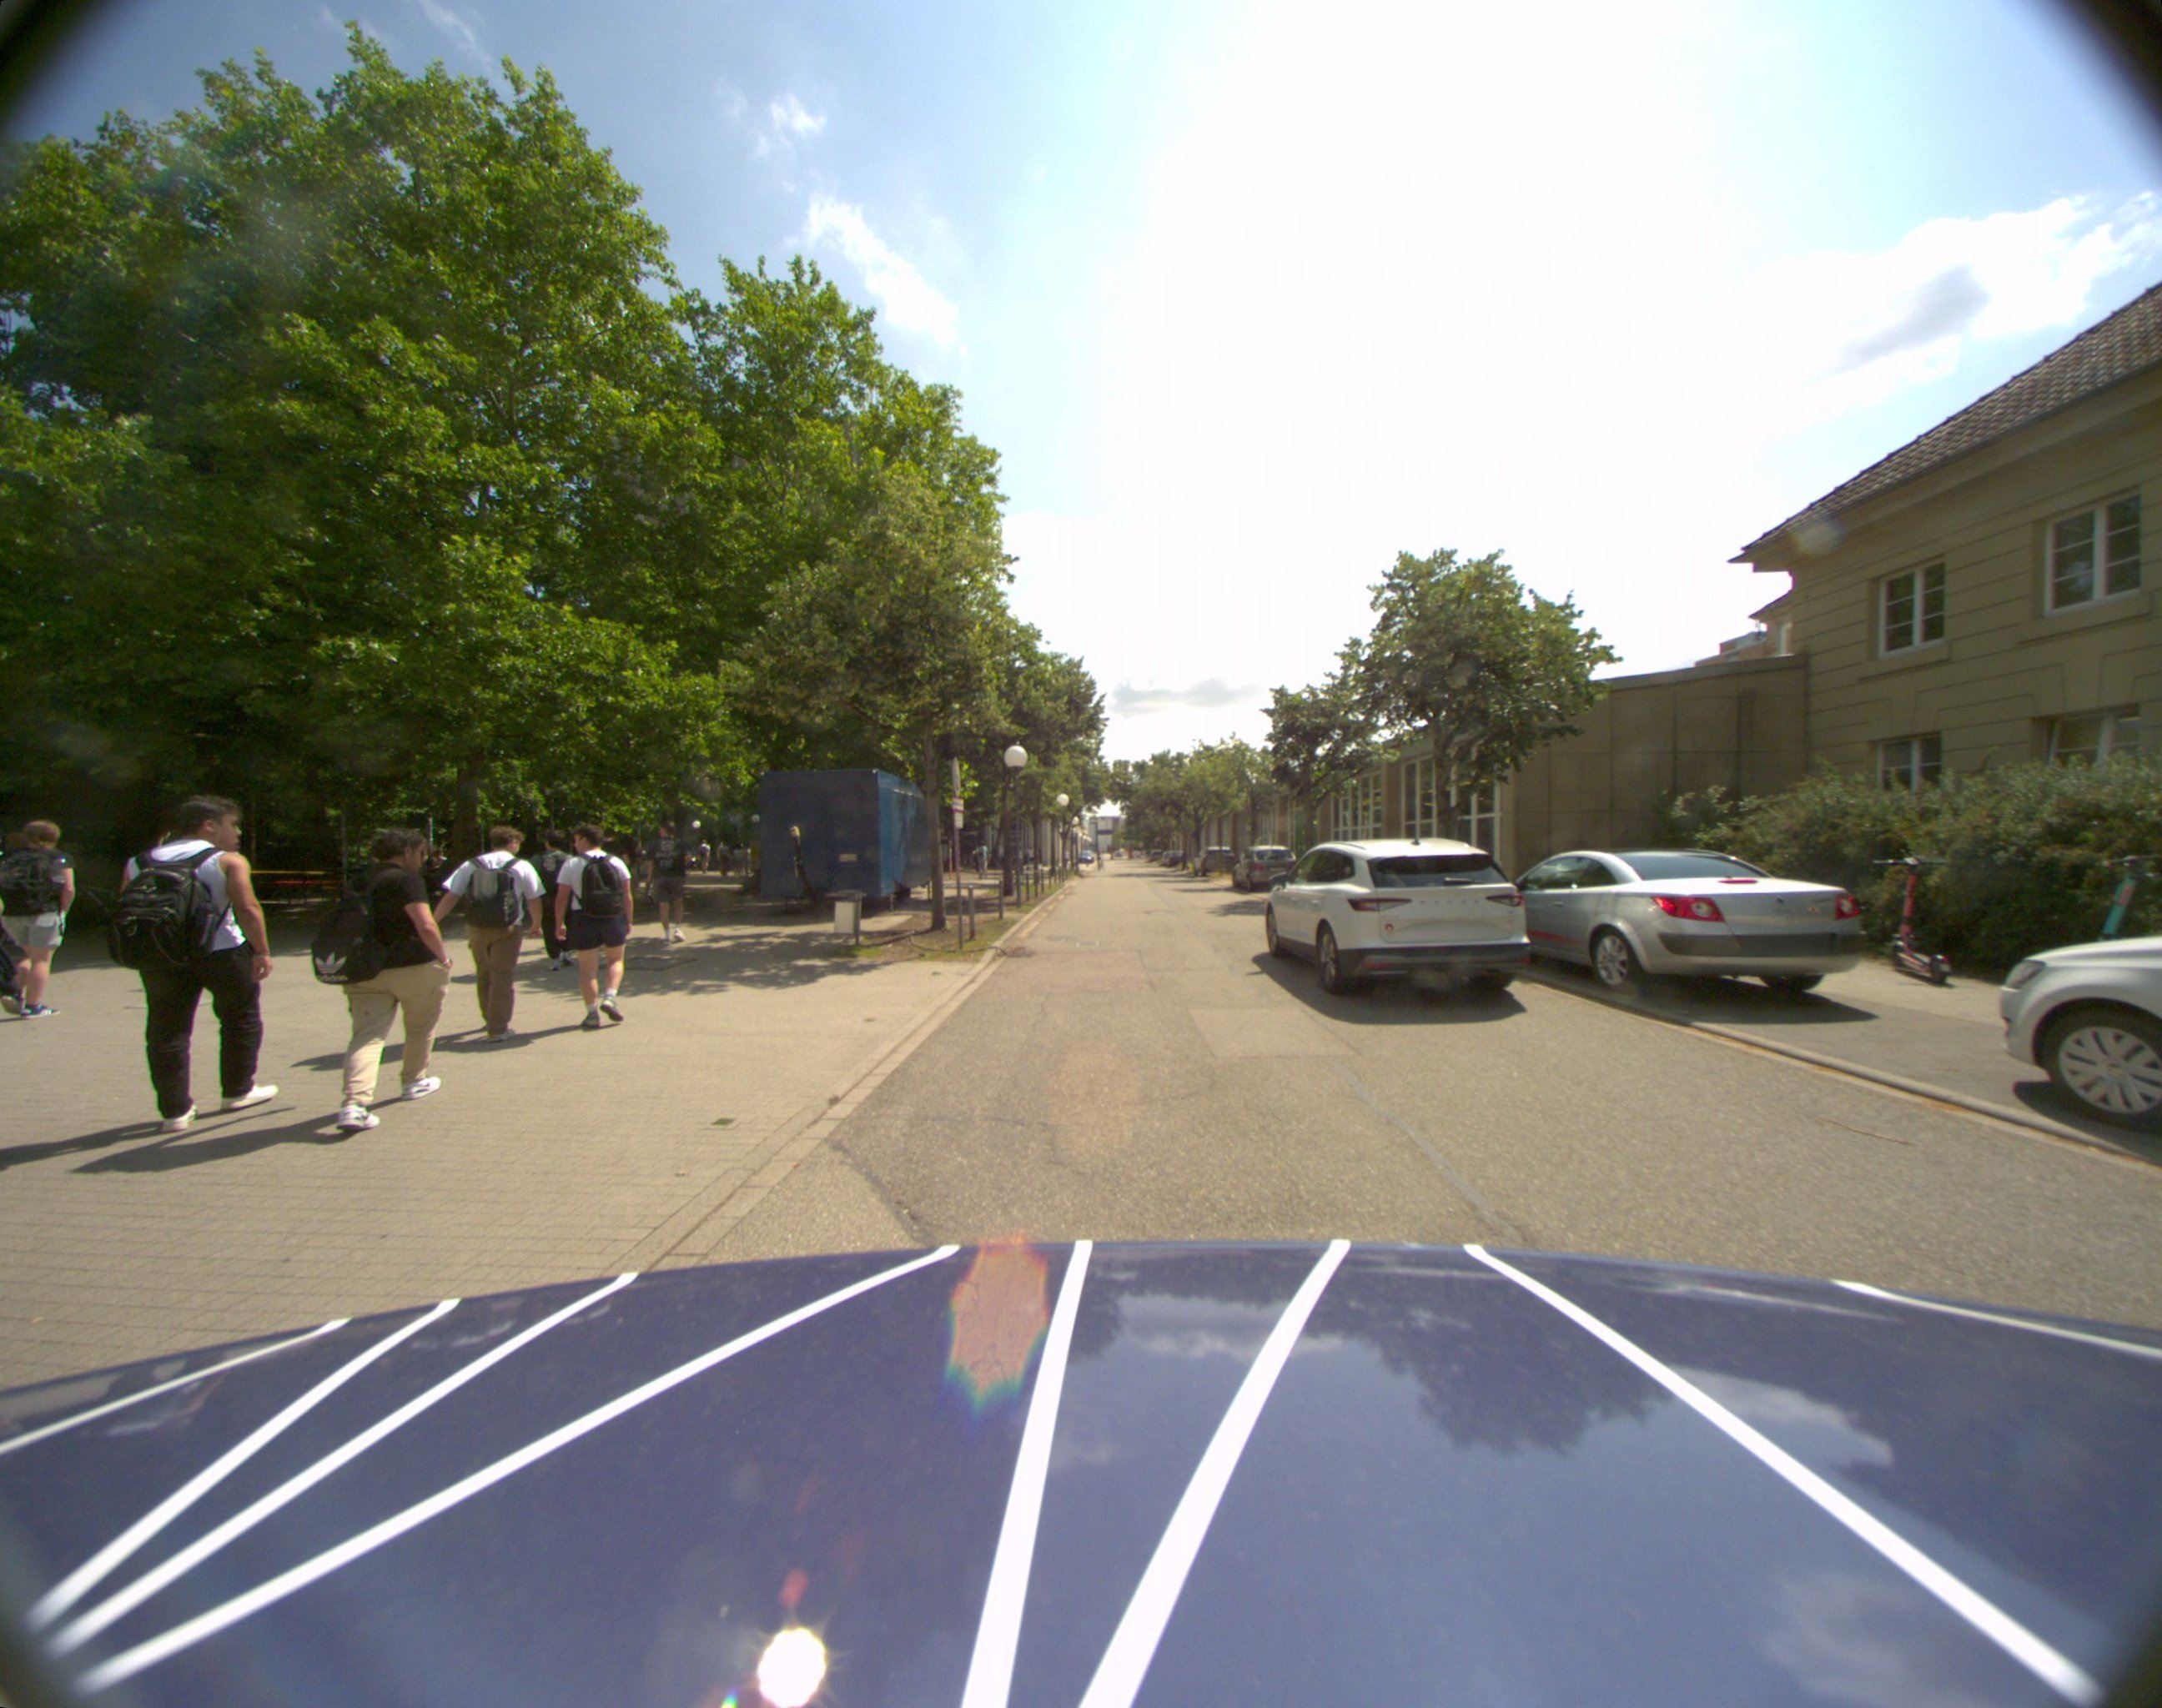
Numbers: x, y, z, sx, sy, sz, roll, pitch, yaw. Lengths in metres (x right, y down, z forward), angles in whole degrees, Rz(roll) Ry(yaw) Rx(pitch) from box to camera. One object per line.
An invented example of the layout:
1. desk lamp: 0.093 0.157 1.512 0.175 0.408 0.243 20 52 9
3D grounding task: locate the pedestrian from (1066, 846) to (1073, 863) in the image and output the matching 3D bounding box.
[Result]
1. pedestrian: -1.164 0.034 75.421 0.613 1.719 0.542 0 1 4

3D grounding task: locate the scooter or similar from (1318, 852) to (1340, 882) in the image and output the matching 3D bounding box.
1. scooter or similar: 9.881 0.512 30.333 0.506 1.162 1.215 -2 1 3

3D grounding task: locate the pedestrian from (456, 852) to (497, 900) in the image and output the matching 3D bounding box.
1. pedestrian: -17.305 0.621 21.766 0.571 1.339 0.729 2 0 -2

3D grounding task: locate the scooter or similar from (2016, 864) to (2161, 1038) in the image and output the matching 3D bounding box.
1. scooter or similar: 8.300 0.732 5.903 0.525 1.280 1.229 2 0 3

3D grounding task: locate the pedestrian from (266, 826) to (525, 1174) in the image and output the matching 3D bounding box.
1. pedestrian: -3.920 0.725 4.386 0.801 1.763 0.856 2 3 29

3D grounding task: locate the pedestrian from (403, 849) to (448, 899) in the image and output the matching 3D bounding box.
1. pedestrian: -18.066 0.543 20.949 0.571 1.339 0.729 2 0 -2

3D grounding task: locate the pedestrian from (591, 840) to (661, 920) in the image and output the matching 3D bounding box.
1. pedestrian: -9.628 0.521 16.116 0.877 1.629 0.948 1 2 2

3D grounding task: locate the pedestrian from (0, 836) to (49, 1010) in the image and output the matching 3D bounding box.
1. pedestrian: -11.137 0.682 7.368 1.108 1.707 0.709 0 2 -7

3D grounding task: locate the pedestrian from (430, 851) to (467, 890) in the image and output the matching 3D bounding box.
1. pedestrian: -21.246 0.540 25.534 0.668 1.264 0.622 2 0 -2

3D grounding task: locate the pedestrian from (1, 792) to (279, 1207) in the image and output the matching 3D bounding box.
1. pedestrian: -4.963 0.681 4.090 0.619 1.969 0.826 -1 3 -29

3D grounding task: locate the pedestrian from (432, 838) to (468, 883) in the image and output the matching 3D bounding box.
1. pedestrian: -22.721 0.236 27.352 0.719 1.572 0.668 2 0 -11

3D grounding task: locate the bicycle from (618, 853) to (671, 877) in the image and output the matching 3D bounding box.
1. bicycle: -19.234 0.487 33.523 1.961 1.033 0.434 0 1 -17

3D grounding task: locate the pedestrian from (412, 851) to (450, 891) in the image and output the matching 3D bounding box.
1. pedestrian: -21.105 0.543 24.673 0.668 1.264 0.622 2 0 -2

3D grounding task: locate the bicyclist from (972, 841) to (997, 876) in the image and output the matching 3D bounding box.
1. bicyclist: -4.449 0.188 35.094 0.651 1.558 1.197 2 2 16

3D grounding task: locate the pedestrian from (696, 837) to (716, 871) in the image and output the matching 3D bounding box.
1. pedestrian: -21.455 0.010 43.506 0.836 1.937 1.077 1 1 -18

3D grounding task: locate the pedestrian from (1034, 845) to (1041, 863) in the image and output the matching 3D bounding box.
1. pedestrian: -4.210 0.035 72.986 0.613 1.719 0.542 0 1 4

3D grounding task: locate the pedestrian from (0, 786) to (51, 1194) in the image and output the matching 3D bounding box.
1. pedestrian: -5.544 0.655 3.498 0.693 1.969 0.826 -1 3 -38

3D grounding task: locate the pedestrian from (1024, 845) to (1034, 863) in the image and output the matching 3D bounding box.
1. pedestrian: -4.997 0.001 73.095 0.811 1.787 0.618 -2 2 -41

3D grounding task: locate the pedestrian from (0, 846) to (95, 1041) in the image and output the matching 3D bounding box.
1. pedestrian: -9.235 0.750 6.599 0.503 1.622 0.570 -1 2 -8

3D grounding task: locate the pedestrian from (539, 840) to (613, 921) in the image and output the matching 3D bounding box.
1. pedestrian: -10.611 0.532 16.003 0.877 1.629 0.948 0 2 2

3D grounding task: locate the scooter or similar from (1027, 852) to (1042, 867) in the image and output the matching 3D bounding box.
1. scooter or similar: -3.582 0.420 58.847 0.496 1.107 1.365 0 -1 27

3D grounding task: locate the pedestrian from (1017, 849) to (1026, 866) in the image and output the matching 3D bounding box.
1. pedestrian: -5.435 0.312 69.896 0.797 1.533 0.664 0 2 -2

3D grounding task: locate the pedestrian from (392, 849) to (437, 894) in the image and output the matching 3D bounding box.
1. pedestrian: -20.161 0.520 22.990 0.668 1.339 0.719 2 0 -2

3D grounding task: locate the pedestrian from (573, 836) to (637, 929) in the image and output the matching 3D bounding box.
1. pedestrian: -8.485 0.485 13.534 0.852 1.586 0.828 0 1 -40

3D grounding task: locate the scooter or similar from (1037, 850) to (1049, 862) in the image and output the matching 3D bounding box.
1. scooter or similar: -4.122 0.230 82.614 0.566 1.205 1.506 -3 4 -38

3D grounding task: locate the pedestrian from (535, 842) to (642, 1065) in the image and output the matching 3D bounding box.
1. pedestrian: -4.239 0.774 6.526 0.702 1.729 0.981 -1 3 -36

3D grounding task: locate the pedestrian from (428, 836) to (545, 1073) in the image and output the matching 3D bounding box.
1. pedestrian: -4.726 0.735 6.090 0.680 1.729 0.906 1 0 -36

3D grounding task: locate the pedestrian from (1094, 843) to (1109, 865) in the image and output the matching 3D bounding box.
1. pedestrian: 1.663 0.015 61.244 0.750 1.730 0.935 -2 2 -44

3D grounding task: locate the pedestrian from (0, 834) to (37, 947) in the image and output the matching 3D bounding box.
1. pedestrian: -18.198 0.611 12.800 0.448 1.872 0.530 -1 1 13

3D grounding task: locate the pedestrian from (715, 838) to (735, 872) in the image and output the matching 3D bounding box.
1. pedestrian: -20.509 0.050 43.787 0.836 1.937 1.077 1 1 -18

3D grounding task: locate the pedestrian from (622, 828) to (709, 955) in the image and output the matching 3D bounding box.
1. pedestrian: -6.331 0.526 11.651 0.855 1.849 1.114 -1 2 -13

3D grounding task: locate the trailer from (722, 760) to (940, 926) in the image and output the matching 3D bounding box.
1. trailer: -5.203 -0.228 17.138 2.698 3.034 6.257 1 1 1

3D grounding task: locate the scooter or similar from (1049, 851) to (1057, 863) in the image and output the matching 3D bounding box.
1. scooter or similar: -2.755 0.293 74.805 0.564 1.205 1.510 2 1 1

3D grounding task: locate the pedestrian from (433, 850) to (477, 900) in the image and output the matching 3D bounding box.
1. pedestrian: -17.251 0.577 20.936 0.571 1.339 0.729 2 0 -2

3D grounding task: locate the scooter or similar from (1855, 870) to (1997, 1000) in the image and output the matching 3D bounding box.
1. scooter or similar: 8.516 0.766 7.716 0.470 1.165 1.229 0 1 22

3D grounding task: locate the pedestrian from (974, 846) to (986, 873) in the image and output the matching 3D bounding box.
1. pedestrian: -6.175 0.311 46.571 0.570 1.563 0.927 1 5 3

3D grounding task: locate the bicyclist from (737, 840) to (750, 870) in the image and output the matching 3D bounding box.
1. bicyclist: -19.693 0.078 44.373 0.532 1.719 1.077 1 1 -18

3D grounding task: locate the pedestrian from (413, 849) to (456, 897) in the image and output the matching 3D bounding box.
1. pedestrian: -18.464 0.529 21.713 0.571 1.339 0.729 2 0 -2

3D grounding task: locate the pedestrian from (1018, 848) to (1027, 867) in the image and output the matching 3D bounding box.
1. pedestrian: -5.479 0.312 70.660 0.797 1.718 0.601 0 2 -2

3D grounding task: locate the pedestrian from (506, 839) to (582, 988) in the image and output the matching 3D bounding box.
1. pedestrian: -6.607 0.683 9.389 0.705 1.710 0.991 -1 3 -33
